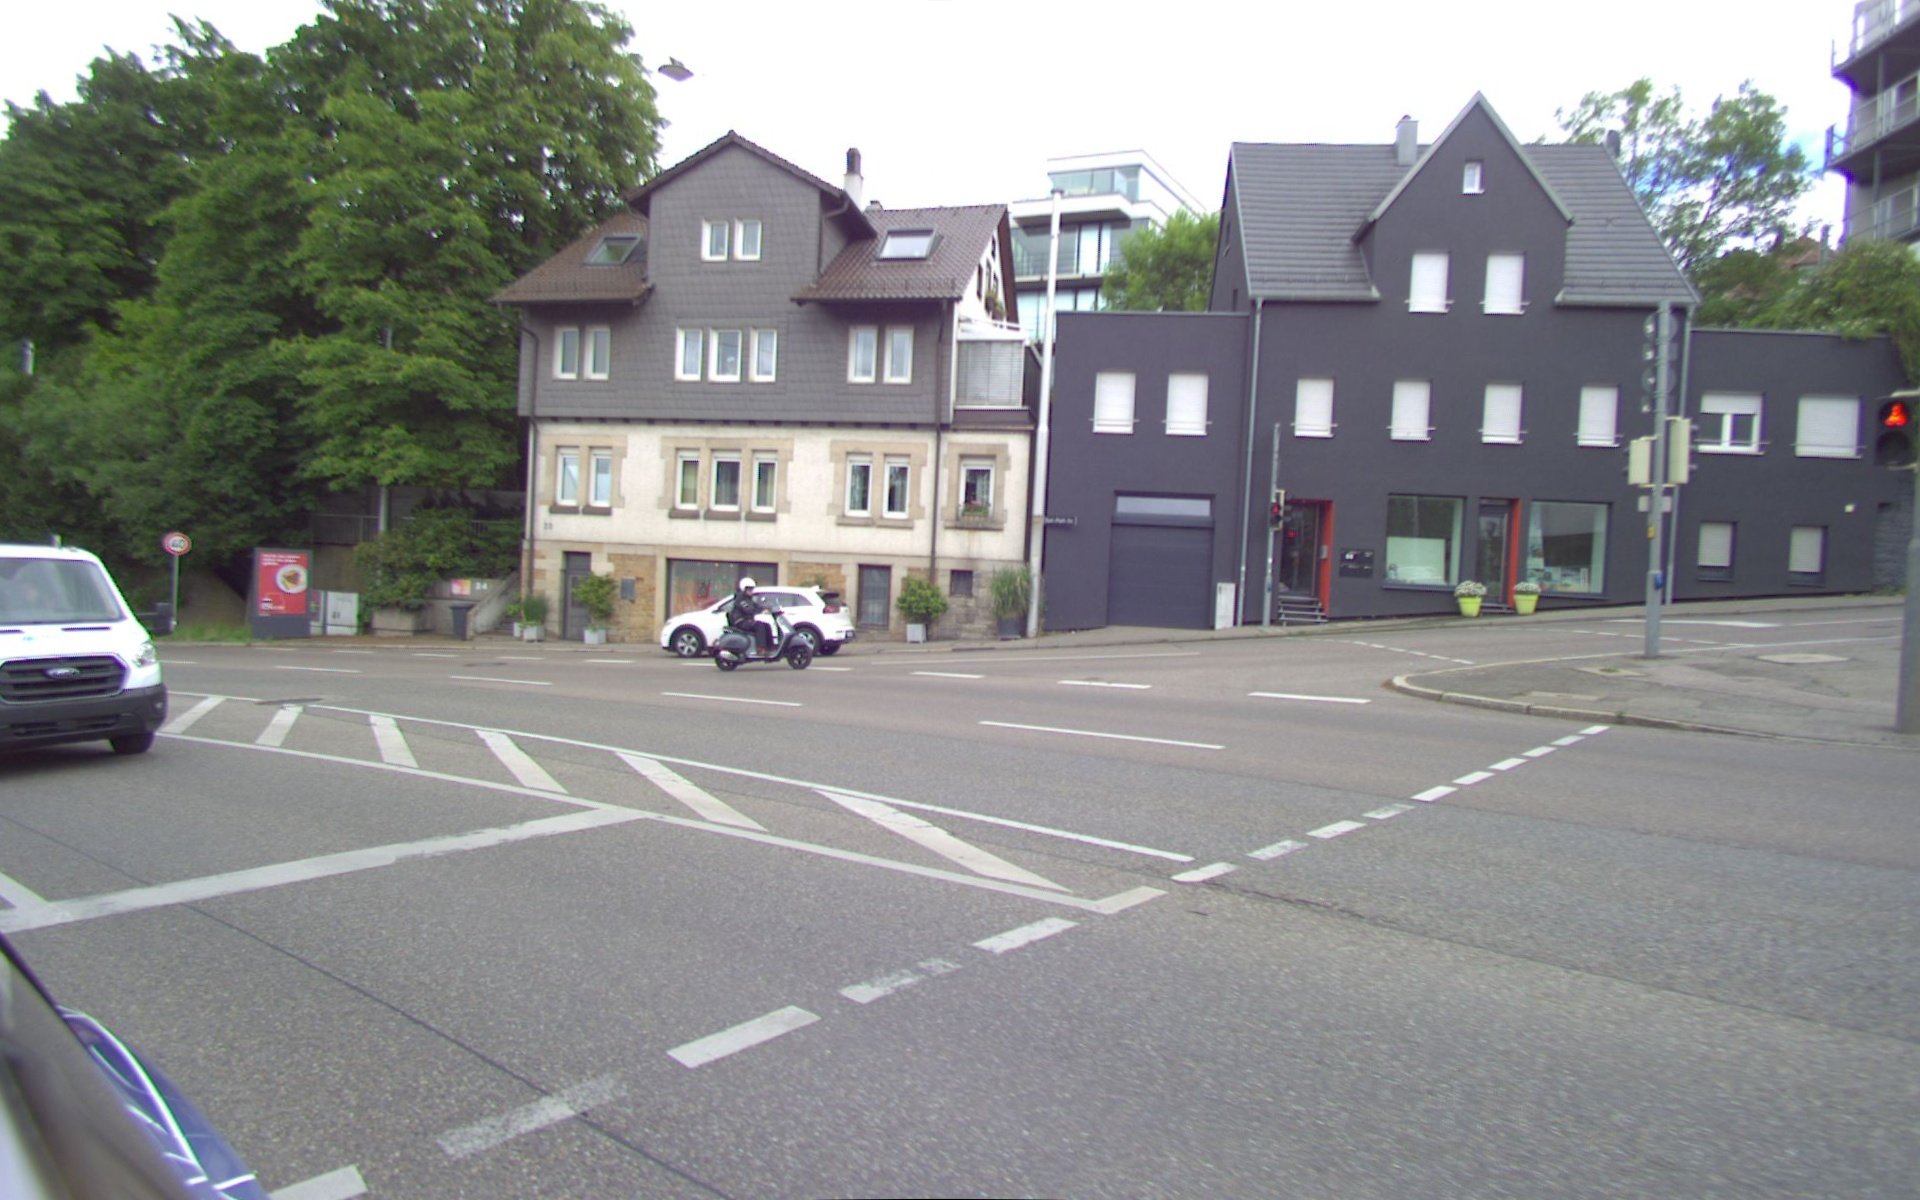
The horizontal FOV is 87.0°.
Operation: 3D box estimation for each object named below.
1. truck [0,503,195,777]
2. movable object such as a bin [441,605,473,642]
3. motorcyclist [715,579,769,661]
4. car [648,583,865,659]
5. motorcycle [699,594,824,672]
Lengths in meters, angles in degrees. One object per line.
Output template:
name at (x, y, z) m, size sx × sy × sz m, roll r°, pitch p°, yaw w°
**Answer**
truck at (-10.814, 0.368, 10.501) m, size 6.301 × 2.338 × 2.063 m, roll -1°, pitch 1°, yaw 28°
movable object such as a bin at (-14.412, 0.663, 28.990) m, size 0.643 × 1.027 × 0.535 m, roll 2°, pitch 2°, yaw 24°
motorcyclist at (-3.875, 0.345, 18.014) m, size 0.715 × 1.429 × 0.682 m, roll -1°, pitch 0°, yaw 10°
car at (-4.466, 0.450, 22.500) m, size 4.341 × 1.579 × 1.883 m, roll -1°, pitch 1°, yaw 11°
motorcycle at (-3.519, 0.575, 18.036) m, size 2.022 × 1.308 × 0.828 m, roll -1°, pitch 2°, yaw 9°
